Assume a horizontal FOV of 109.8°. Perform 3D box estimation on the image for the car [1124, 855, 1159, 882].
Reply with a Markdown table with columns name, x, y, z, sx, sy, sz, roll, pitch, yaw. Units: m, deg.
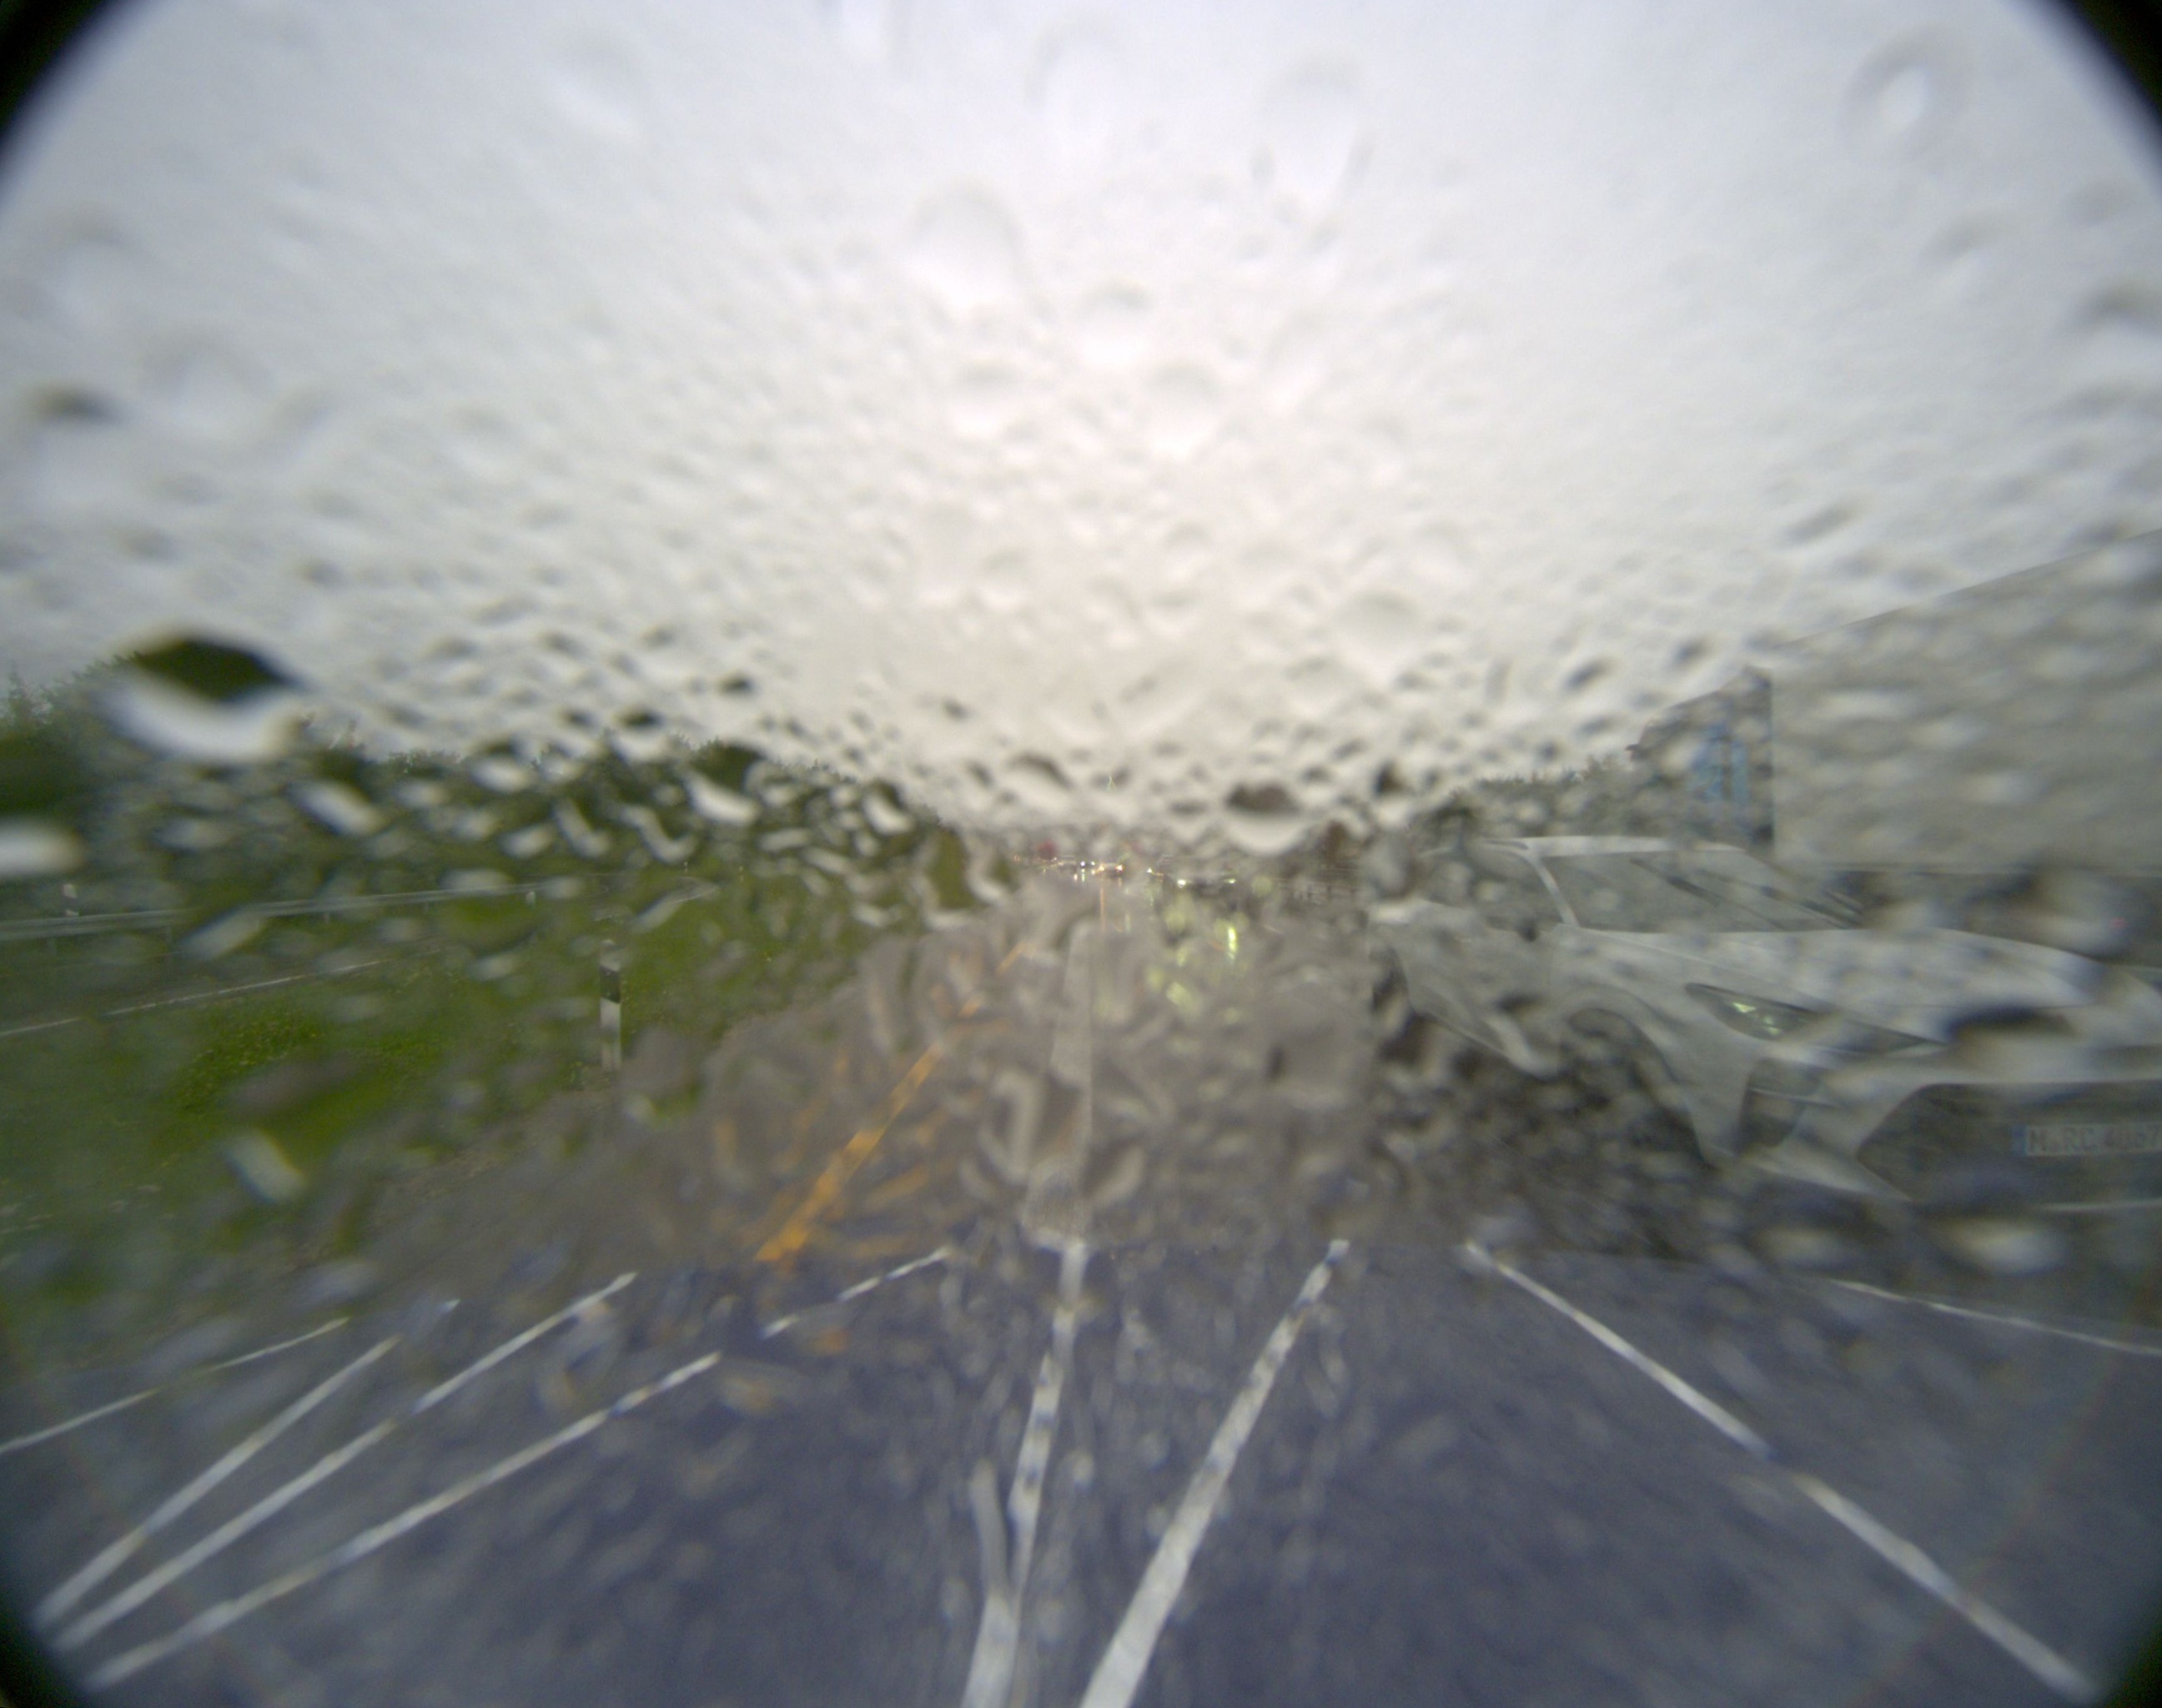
| name | x | y | z | sx | sy | sz | roll | pitch | yaw |
| --- | --- | --- | --- | --- | --- | --- | --- | --- | --- |
| car | 3.670 | 0.848 | 46.568 | 1.792 | 1.480 | 3.999 | -3 | 1 | 0 |

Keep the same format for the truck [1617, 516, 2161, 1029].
| name | x | y | z | sx | sy | sz | roll | pitch | yaw |
| --- | --- | --- | --- | --- | --- | --- | --- | --- | --- |
| truck | 10.236 | -0.720 | 9.384 | 2.896 | 4.207 | 6.326 | -1 | 1 | 1 |

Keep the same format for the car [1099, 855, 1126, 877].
| name | x | y | z | sx | sy | sz | roll | pitch | yaw |
| --- | --- | --- | --- | --- | --- | --- | --- | --- | --- |
| car | 2.600 | 0.960 | 63.748 | 1.881 | 1.772 | 3.999 | -1 | 0 | -2 |

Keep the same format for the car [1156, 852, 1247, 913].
| name | x | y | z | sx | sy | sz | roll | pitch | yaw |
| --- | --- | --- | --- | --- | --- | --- | --- | --- | --- |
| car | 3.607 | 0.786 | 23.721 | 2.069 | 1.618 | 5.195 | -2 | 0 | 1 |

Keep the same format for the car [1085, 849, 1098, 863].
| name | x | y | z | sx | sy | sz | roll | pitch | yaw |
| --- | --- | --- | --- | --- | --- | --- | --- | --- | --- |
| car | 1.529 | 0.322 | 114.187 | 1.767 | 2.002 | 3.999 | -3 | 1 | 0 |

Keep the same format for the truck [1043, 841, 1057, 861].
| name | x | y | z | sx | sy | sz | roll | pitch | yaw |
| --- | --- | --- | --- | --- | --- | --- | --- | --- | --- |
| truck | -6.790 | -0.769 | 167.992 | 2.506 | 4.067 | 15.197 | -3 | 1 | -2 |

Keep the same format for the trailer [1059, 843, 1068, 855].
| name | x | y | z | sx | sy | sz | roll | pitch | yaw |
| --- | --- | --- | --- | --- | --- | --- | --- | --- | --- |
| trailer | -6.132 | -1.630 | 260.486 | 2.915 | 4.065 | 12.218 | -1 | 0 | -2 |

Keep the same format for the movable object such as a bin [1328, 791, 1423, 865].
| name | x | y | z | sx | sy | sz | roll | pitch | yaw |
| --- | --- | --- | --- | --- | --- | --- | --- | --- | --- |
| movable object such as a bin | 25.778 | -2.187 | 67.415 | 4.181 | 5.881 | 11.044 | -3 | 1 | 1 |

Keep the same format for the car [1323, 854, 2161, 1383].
| name | x | y | z | sx | sy | sz | roll | pitch | yaw |
| --- | --- | --- | --- | --- | --- | --- | --- | --- | --- |
| car | 3.298 | 0.821 | 4.840 | 1.932 | 1.542 | 5.006 | -2 | 0 | 1 |

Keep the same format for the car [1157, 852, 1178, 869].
| name | x | y | z | sx | sy | sz | roll | pitch | yaw |
| --- | --- | --- | --- | --- | --- | --- | --- | --- | --- |
| car | 9.019 | 0.659 | 79.768 | 1.640 | 1.658 | 4.543 | -3 | 1 | 0 |

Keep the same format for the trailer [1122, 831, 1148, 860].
| name | x | y | z | sx | sy | sz | roll | pitch | yaw |
| --- | --- | --- | --- | --- | --- | --- | --- | --- | --- |
| trailer | 8.173 | -1.256 | 116.568 | 2.984 | 4.270 | 11.057 | -1 | 0 | -2 |

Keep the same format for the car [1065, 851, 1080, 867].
| name | x | y | z | sx | sy | sz | roll | pitch | yaw |
| --- | --- | --- | --- | --- | --- | --- | --- | --- | --- |
| car | -1.030 | 0.512 | 88.094 | 1.673 | 1.804 | 3.999 | -1 | 1 | -1 |

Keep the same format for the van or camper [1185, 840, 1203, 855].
| name | x | y | z | sx | sy | sz | roll | pitch | yaw |
| --- | --- | --- | --- | --- | --- | --- | --- | --- | --- |
| van or camper | 35.114 | -2.035 | 236.752 | 3.377 | 4.299 | 8.501 | -3 | 1 | -5 |

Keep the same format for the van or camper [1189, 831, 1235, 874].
| name | x | y | z | sx | sy | sz | roll | pitch | yaw |
| --- | --- | --- | --- | --- | --- | --- | --- | --- | --- |
| van or camper | 10.074 | -0.154 | 58.919 | 2.299 | 3.023 | 6.698 | -3 | 1 | 0 |

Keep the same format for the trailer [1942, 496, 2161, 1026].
| name | x | y | z | sx | sy | sz | roll | pitch | yaw |
| --- | --- | --- | --- | --- | --- | --- | --- | --- | --- |
| trailer | 10.060 | -0.705 | 1.216 | 2.900 | 4.261 | 12.893 | -1 | 1 | 1 |

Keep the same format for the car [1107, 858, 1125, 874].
| name | x | y | z | sx | sy | sz | roll | pitch | yaw |
| --- | --- | --- | --- | --- | --- | --- | --- | --- | --- |
| car | 3.575 | 1.207 | 77.664 | 1.590 | 1.528 | 3.830 | -1 | 0 | -1 |

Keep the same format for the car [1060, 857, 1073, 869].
| name | x | y | z | sx | sy | sz | roll | pitch | yaw |
| --- | --- | --- | --- | --- | --- | --- | --- | --- | --- |
| car | -2.254 | 1.369 | 115.113 | 1.674 | 1.804 | 3.998 | -1 | 1 | -5 |
